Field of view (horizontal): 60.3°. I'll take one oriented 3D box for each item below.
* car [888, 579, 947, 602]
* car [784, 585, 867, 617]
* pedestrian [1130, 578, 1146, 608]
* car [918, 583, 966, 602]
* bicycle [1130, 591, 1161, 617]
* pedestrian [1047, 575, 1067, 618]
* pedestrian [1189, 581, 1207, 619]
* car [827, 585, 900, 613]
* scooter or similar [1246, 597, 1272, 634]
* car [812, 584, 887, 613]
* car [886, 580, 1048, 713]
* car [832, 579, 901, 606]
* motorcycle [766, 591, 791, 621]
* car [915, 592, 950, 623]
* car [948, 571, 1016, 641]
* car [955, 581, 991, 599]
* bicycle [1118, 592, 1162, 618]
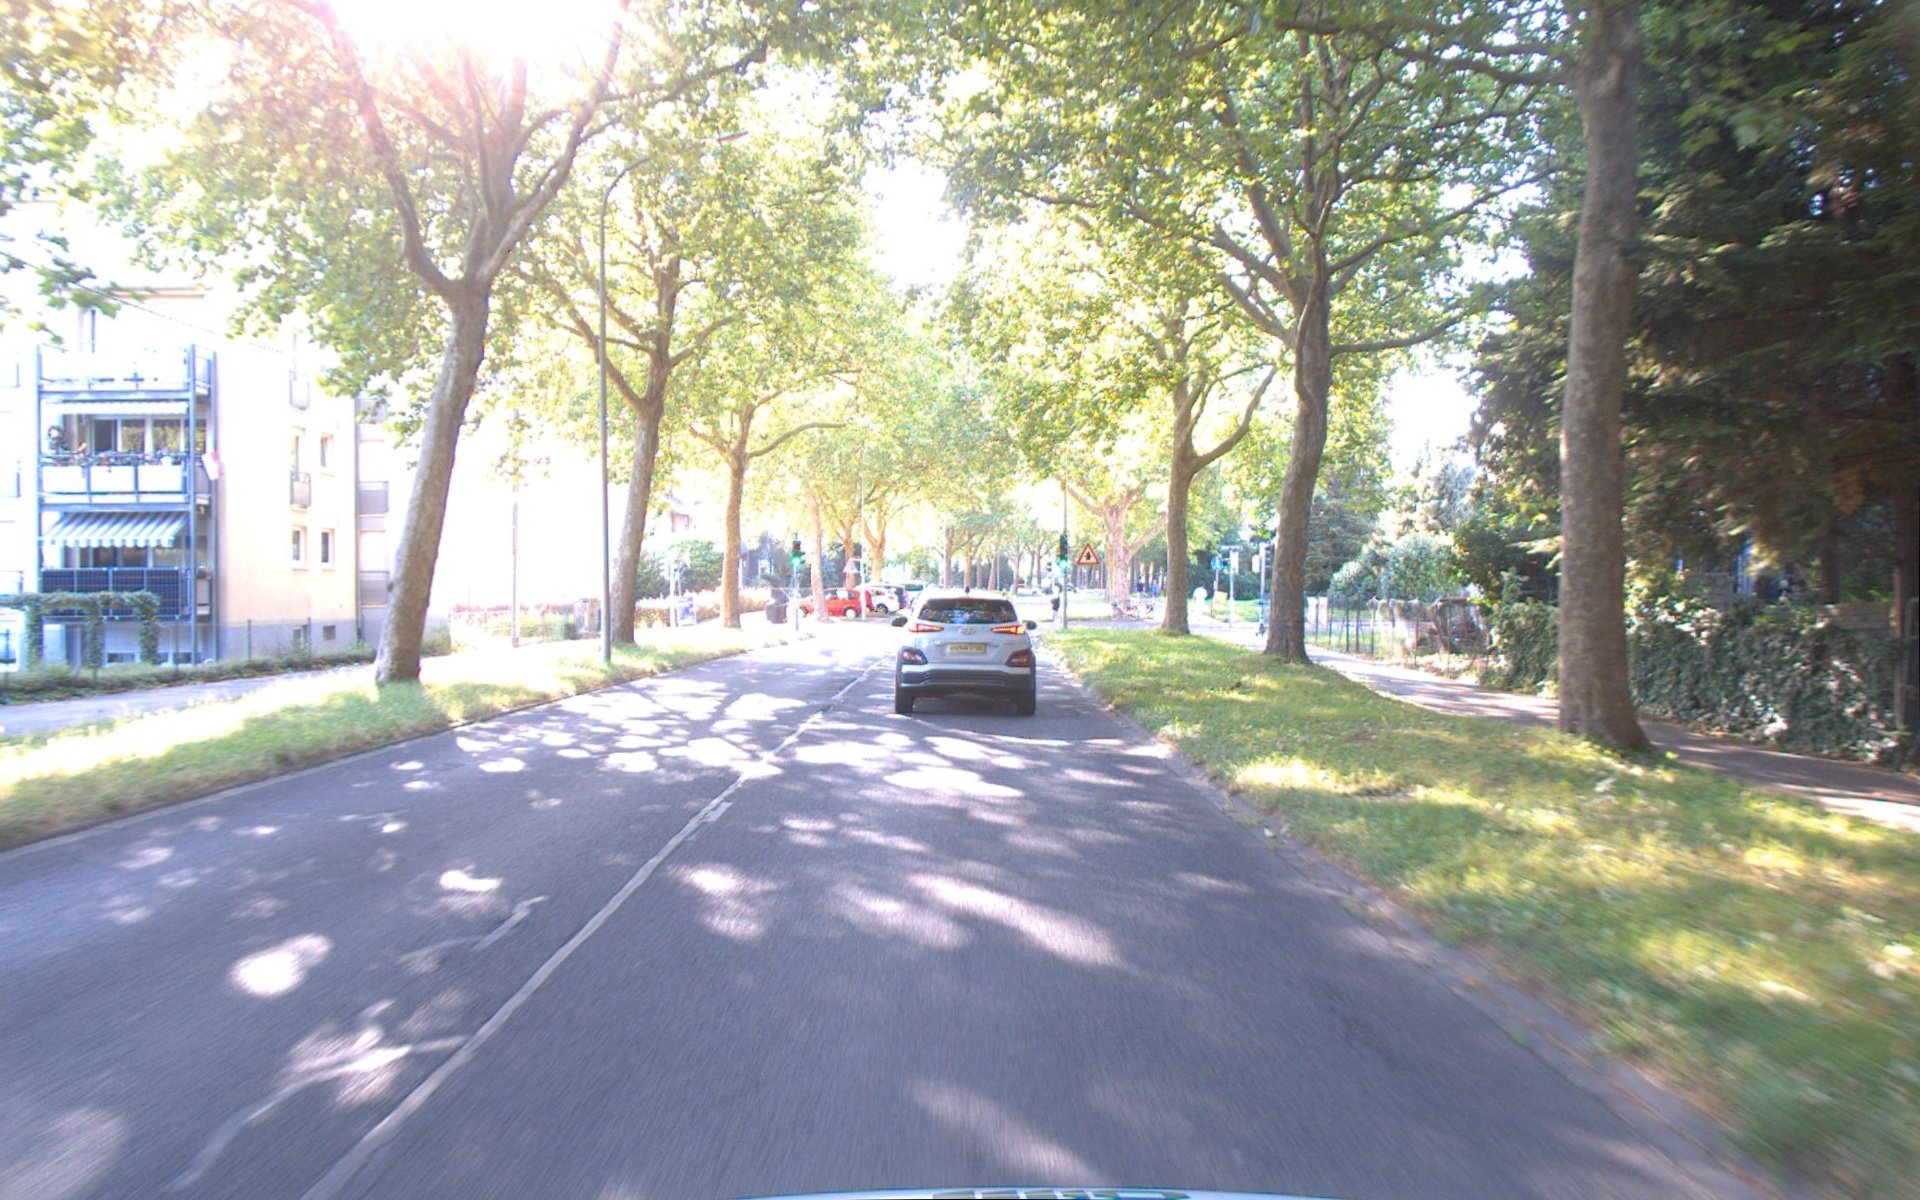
[{"bbox_3d":[-2.888,-0.665,112.805,3.904,1.504,2.000,1,0,1],"label":"car"},{"bbox_3d":[-6.751,0.055,83.333,3.904,1.504,2.000,1,0,1],"label":"car"},{"bbox_3d":[12.585,-0.489,116.835,1.071,2.049,1.106,1,0,7],"label":"pedestrian"},{"bbox_3d":[-1.451,-0.580,136.908,3.904,1.504,2.000,1,0,1],"label":"car"},{"bbox_3d":[8.685,0.191,77.457,0.594,1.204,2.108,1,0,-18],"label":"bicycle"},{"bbox_3d":[4.601,-0.164,78.370,0.849,2.049,0.814,1,0,9],"label":"pedestrian"},{"bbox_3d":[11.102,-0.007,77.137,0.816,1.766,0.886,1,0,9],"label":"pedestrian"},{"bbox_3d":[-5.427,-0.075,93.195,3.903,1.504,2.001,1,0,3],"label":"car"},{"bbox_3d":[10.481,0.527,58.046,0.538,1.280,2.314,1,0,2],"label":"scooter or similar"},{"bbox_3d":[-6.026,-0.099,90.850,3.904,1.504,2.000,1,0,1],"label":"car"},{"bbox_3d":[0.106,0.567,22.173,1.952,1.602,4.000,1,0,0],"label":"car"},{"bbox_3d":[-5.483,-0.425,97.200,3.904,1.504,2.000,1,0,1],"label":"car"},{"bbox_3d":[-8.644,0.273,78.894,0.828,1.403,2.776,1,0,1],"label":"motorcycle"},{"bbox_3d":[-1.412,0.371,85.416,1.653,1.462,3.683,1,1,1],"label":"car"},{"bbox_3d":[0.646,0.180,51.447,1.953,2.049,3.999,1,0,-1],"label":"car"},{"bbox_3d":[1.388,-1.051,174.726,3.600,1.840,1.746,1,0,-8],"label":"car"},{"bbox_3d":[8.283,0.238,76.163,0.600,1.184,2.117,1,0,-42],"label":"bicycle"}]
